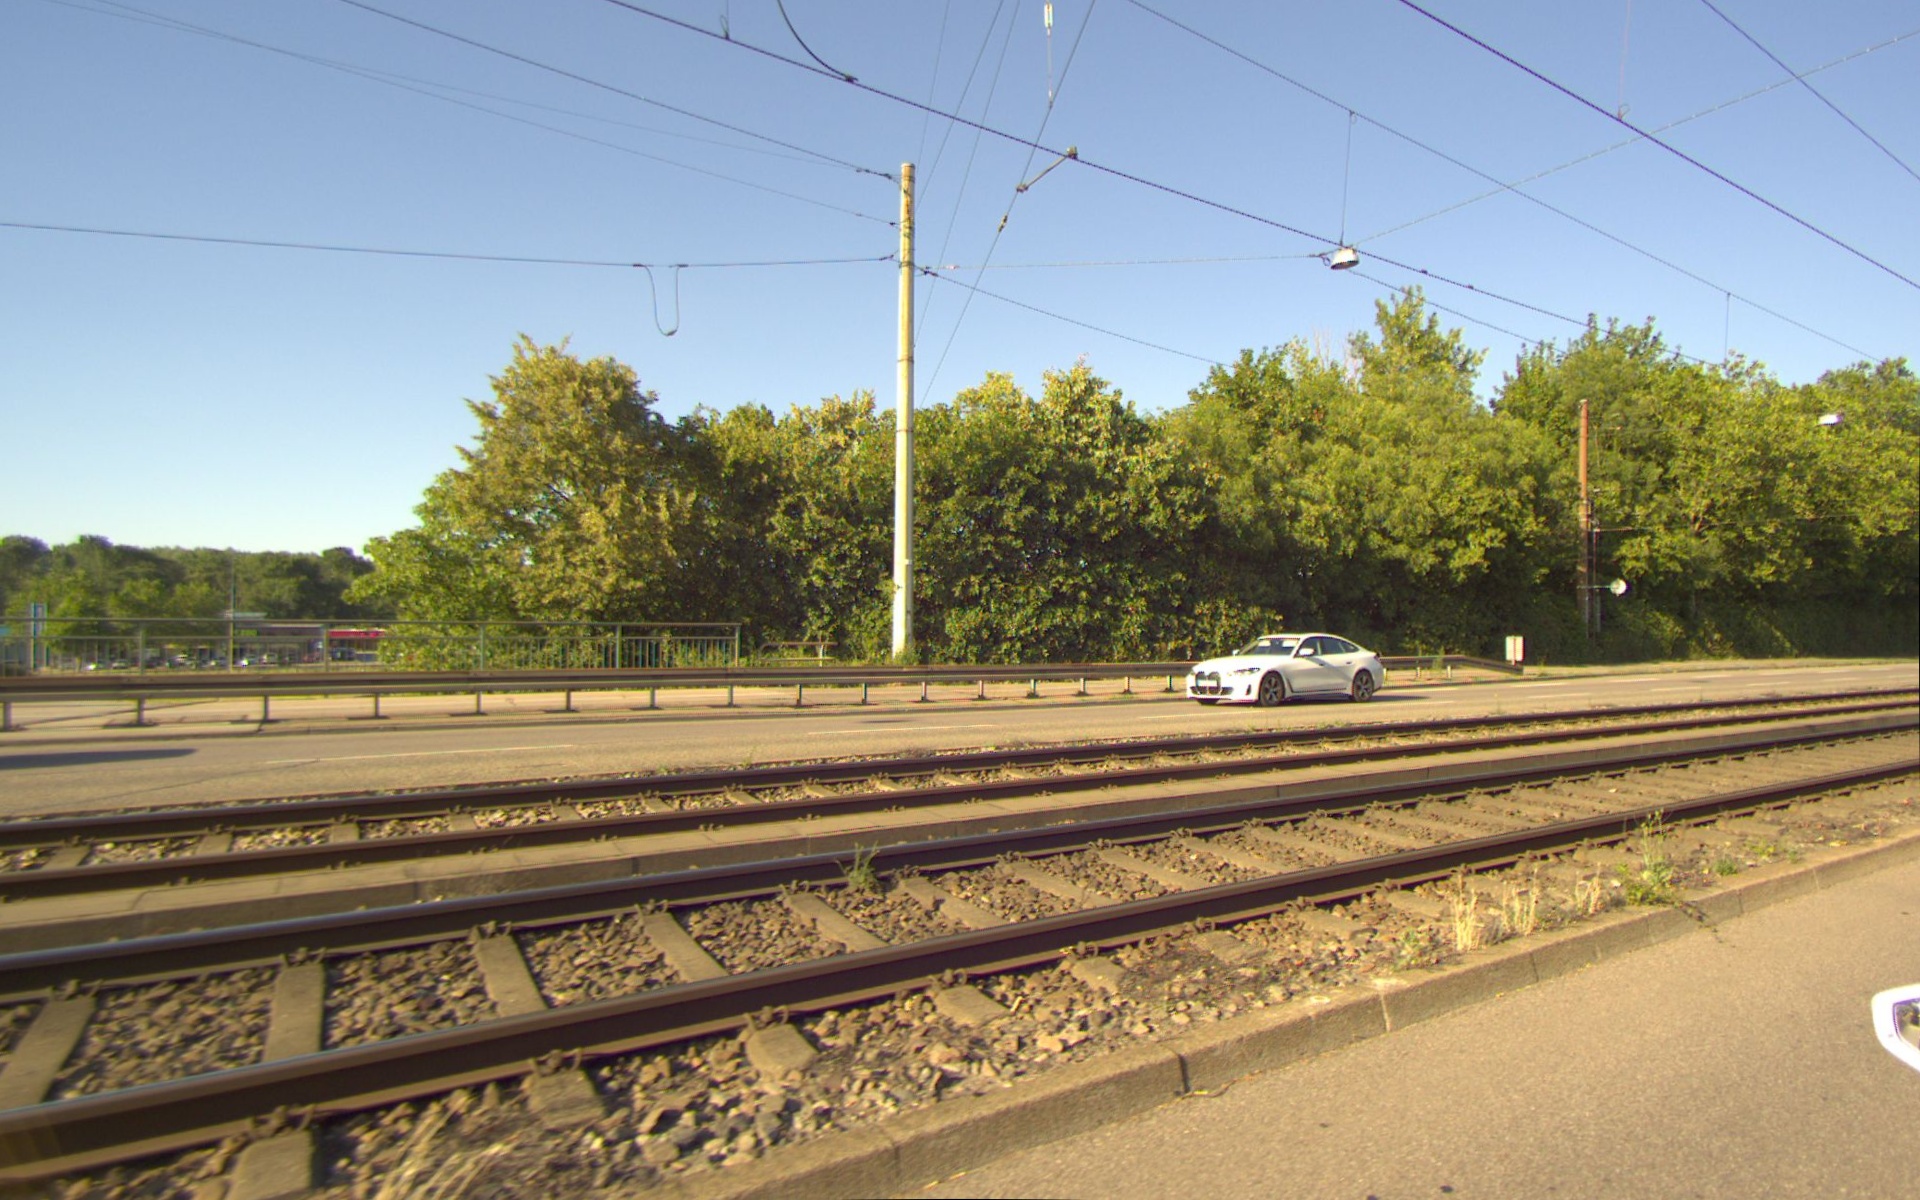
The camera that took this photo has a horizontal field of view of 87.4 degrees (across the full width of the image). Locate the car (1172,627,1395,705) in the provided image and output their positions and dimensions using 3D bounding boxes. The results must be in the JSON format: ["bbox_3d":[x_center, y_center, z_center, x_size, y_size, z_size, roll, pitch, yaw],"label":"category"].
[{"bbox_3d":[6.727,1.337,20.674,4.826,1.432,1.745,2,-4,-33],"label":"car"}]
